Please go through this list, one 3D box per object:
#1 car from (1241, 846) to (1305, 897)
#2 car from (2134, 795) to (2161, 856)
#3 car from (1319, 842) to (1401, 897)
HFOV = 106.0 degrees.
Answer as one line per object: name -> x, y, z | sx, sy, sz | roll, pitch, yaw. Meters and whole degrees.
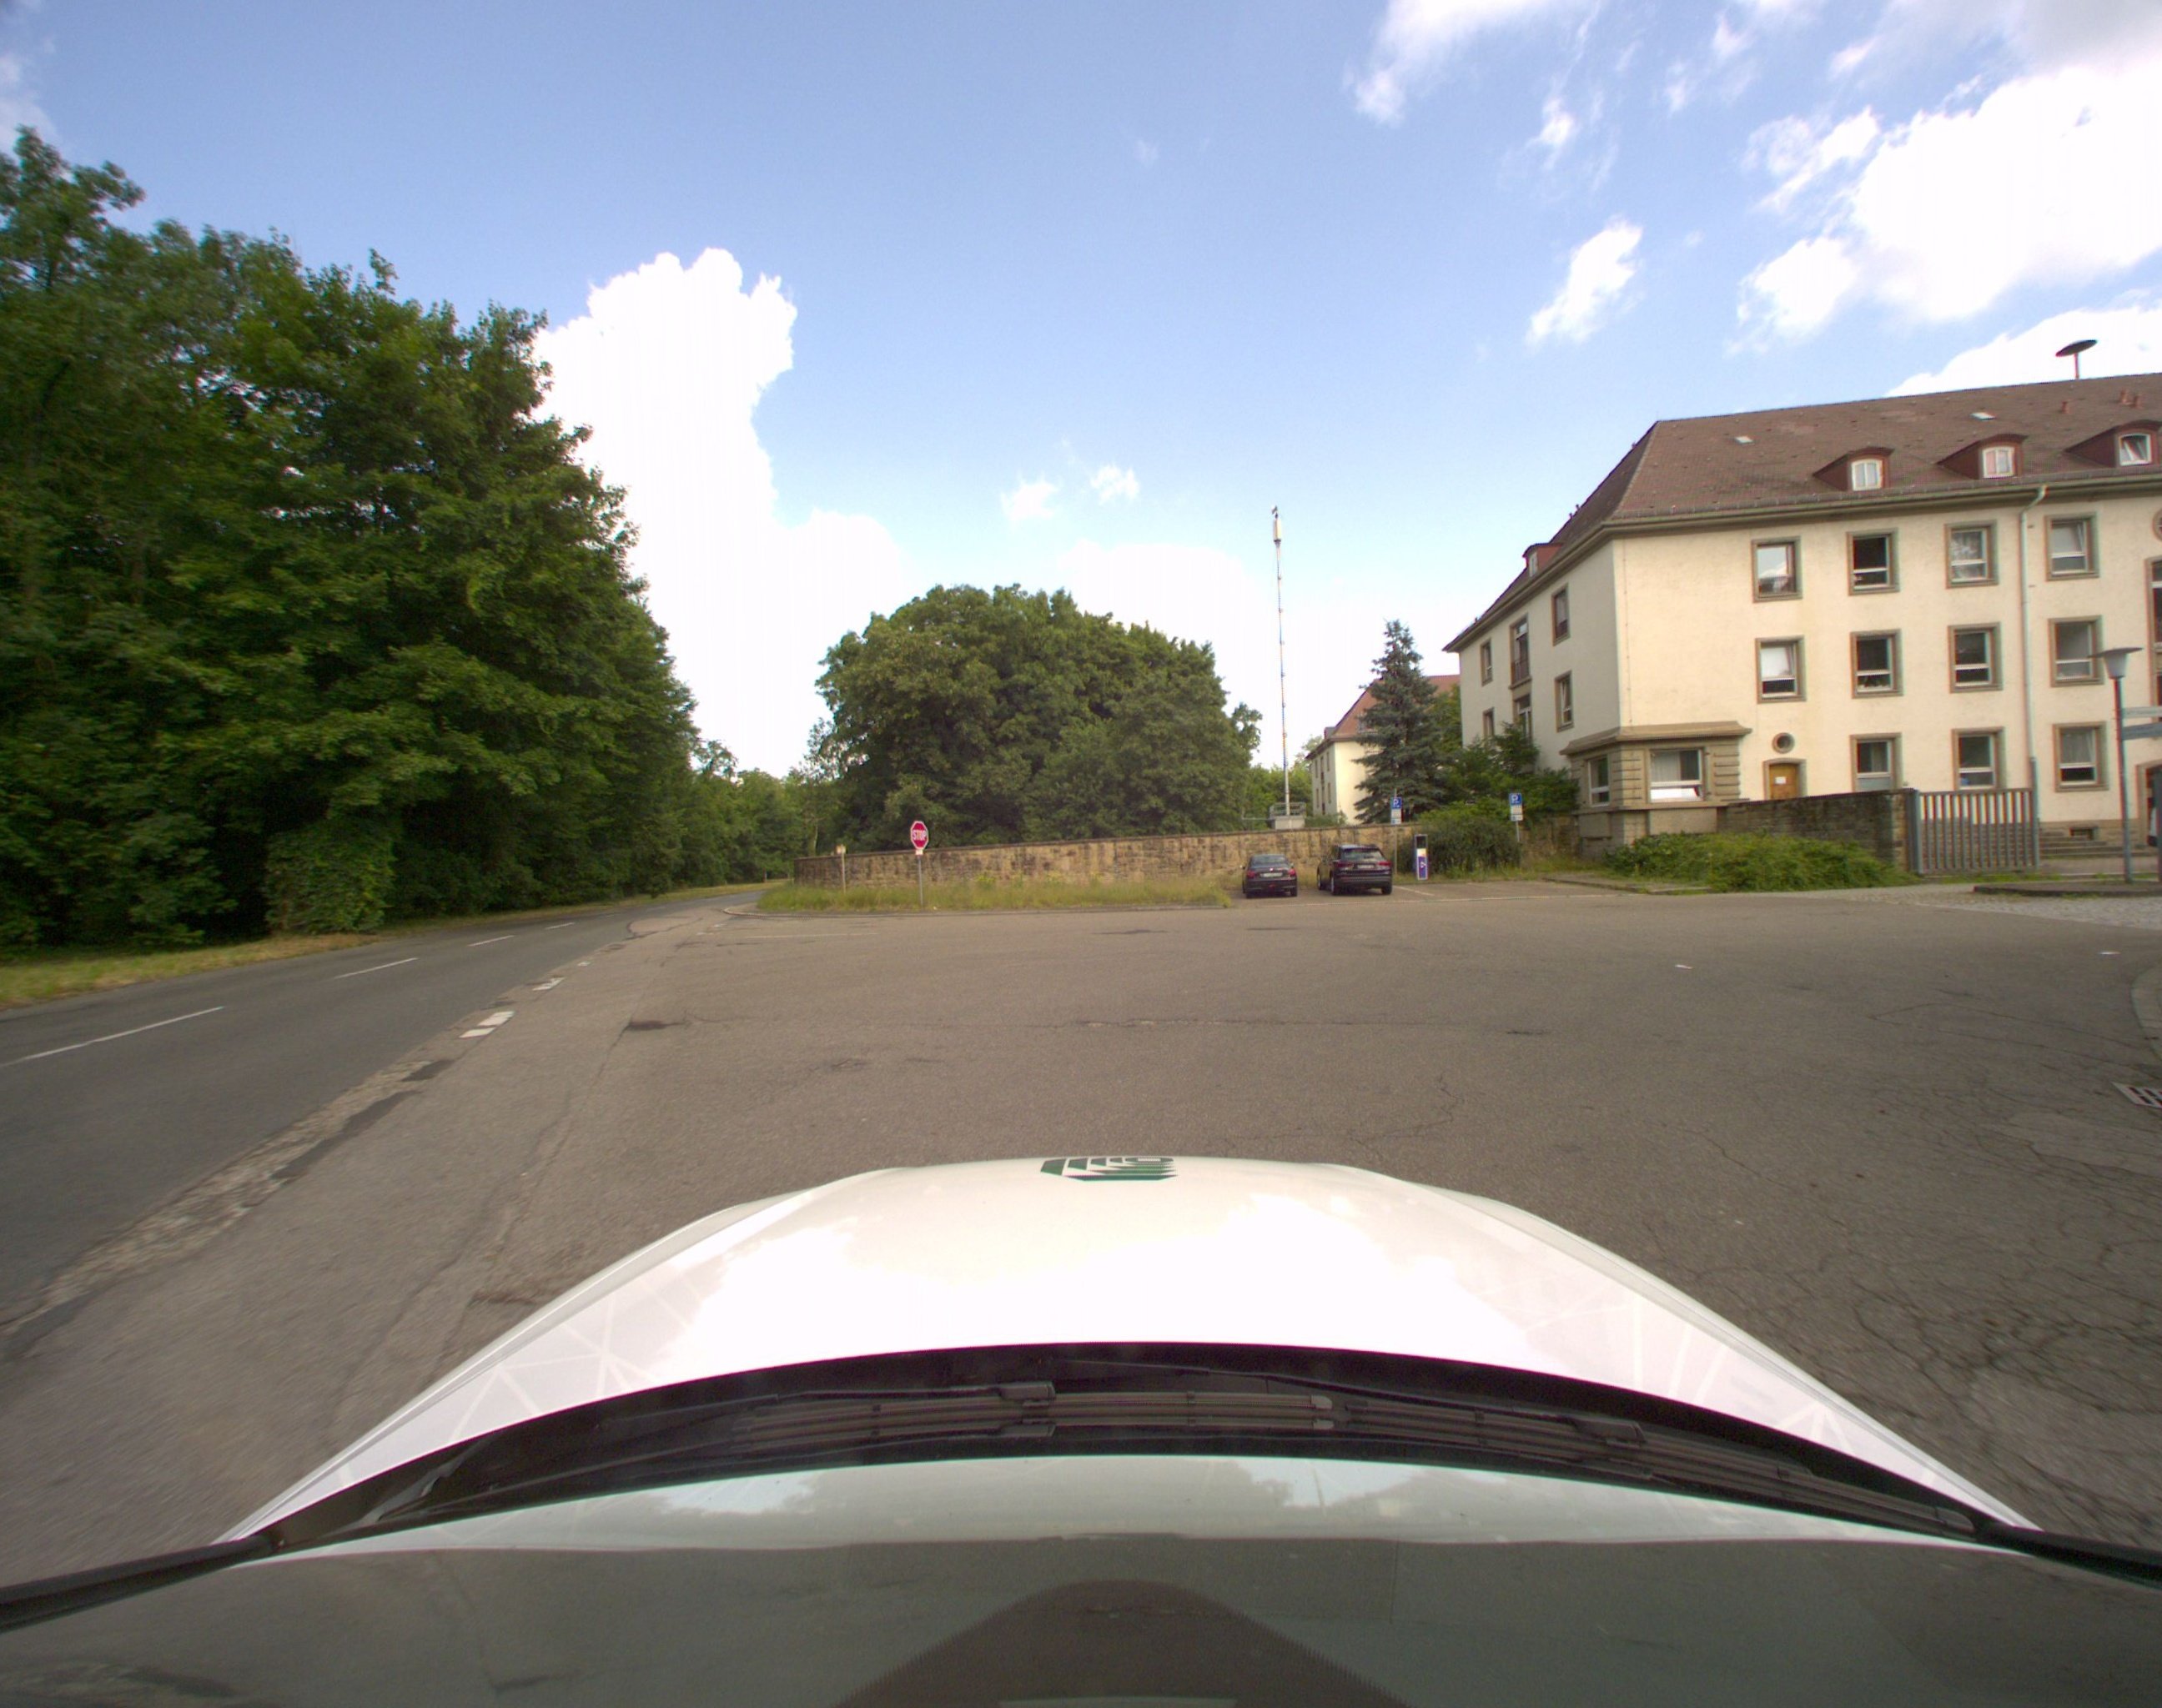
car -> 6.427, 0.542, 27.558 | 1.861, 1.441, 4.012 | -3, 1, 11
car -> 32.487, -0.762, 22.261 | 1.844, 1.750, 4.458 | -3, 3, 4
car -> 9.007, 0.440, 26.626 | 1.882, 1.546, 4.012 | -3, 1, 10
